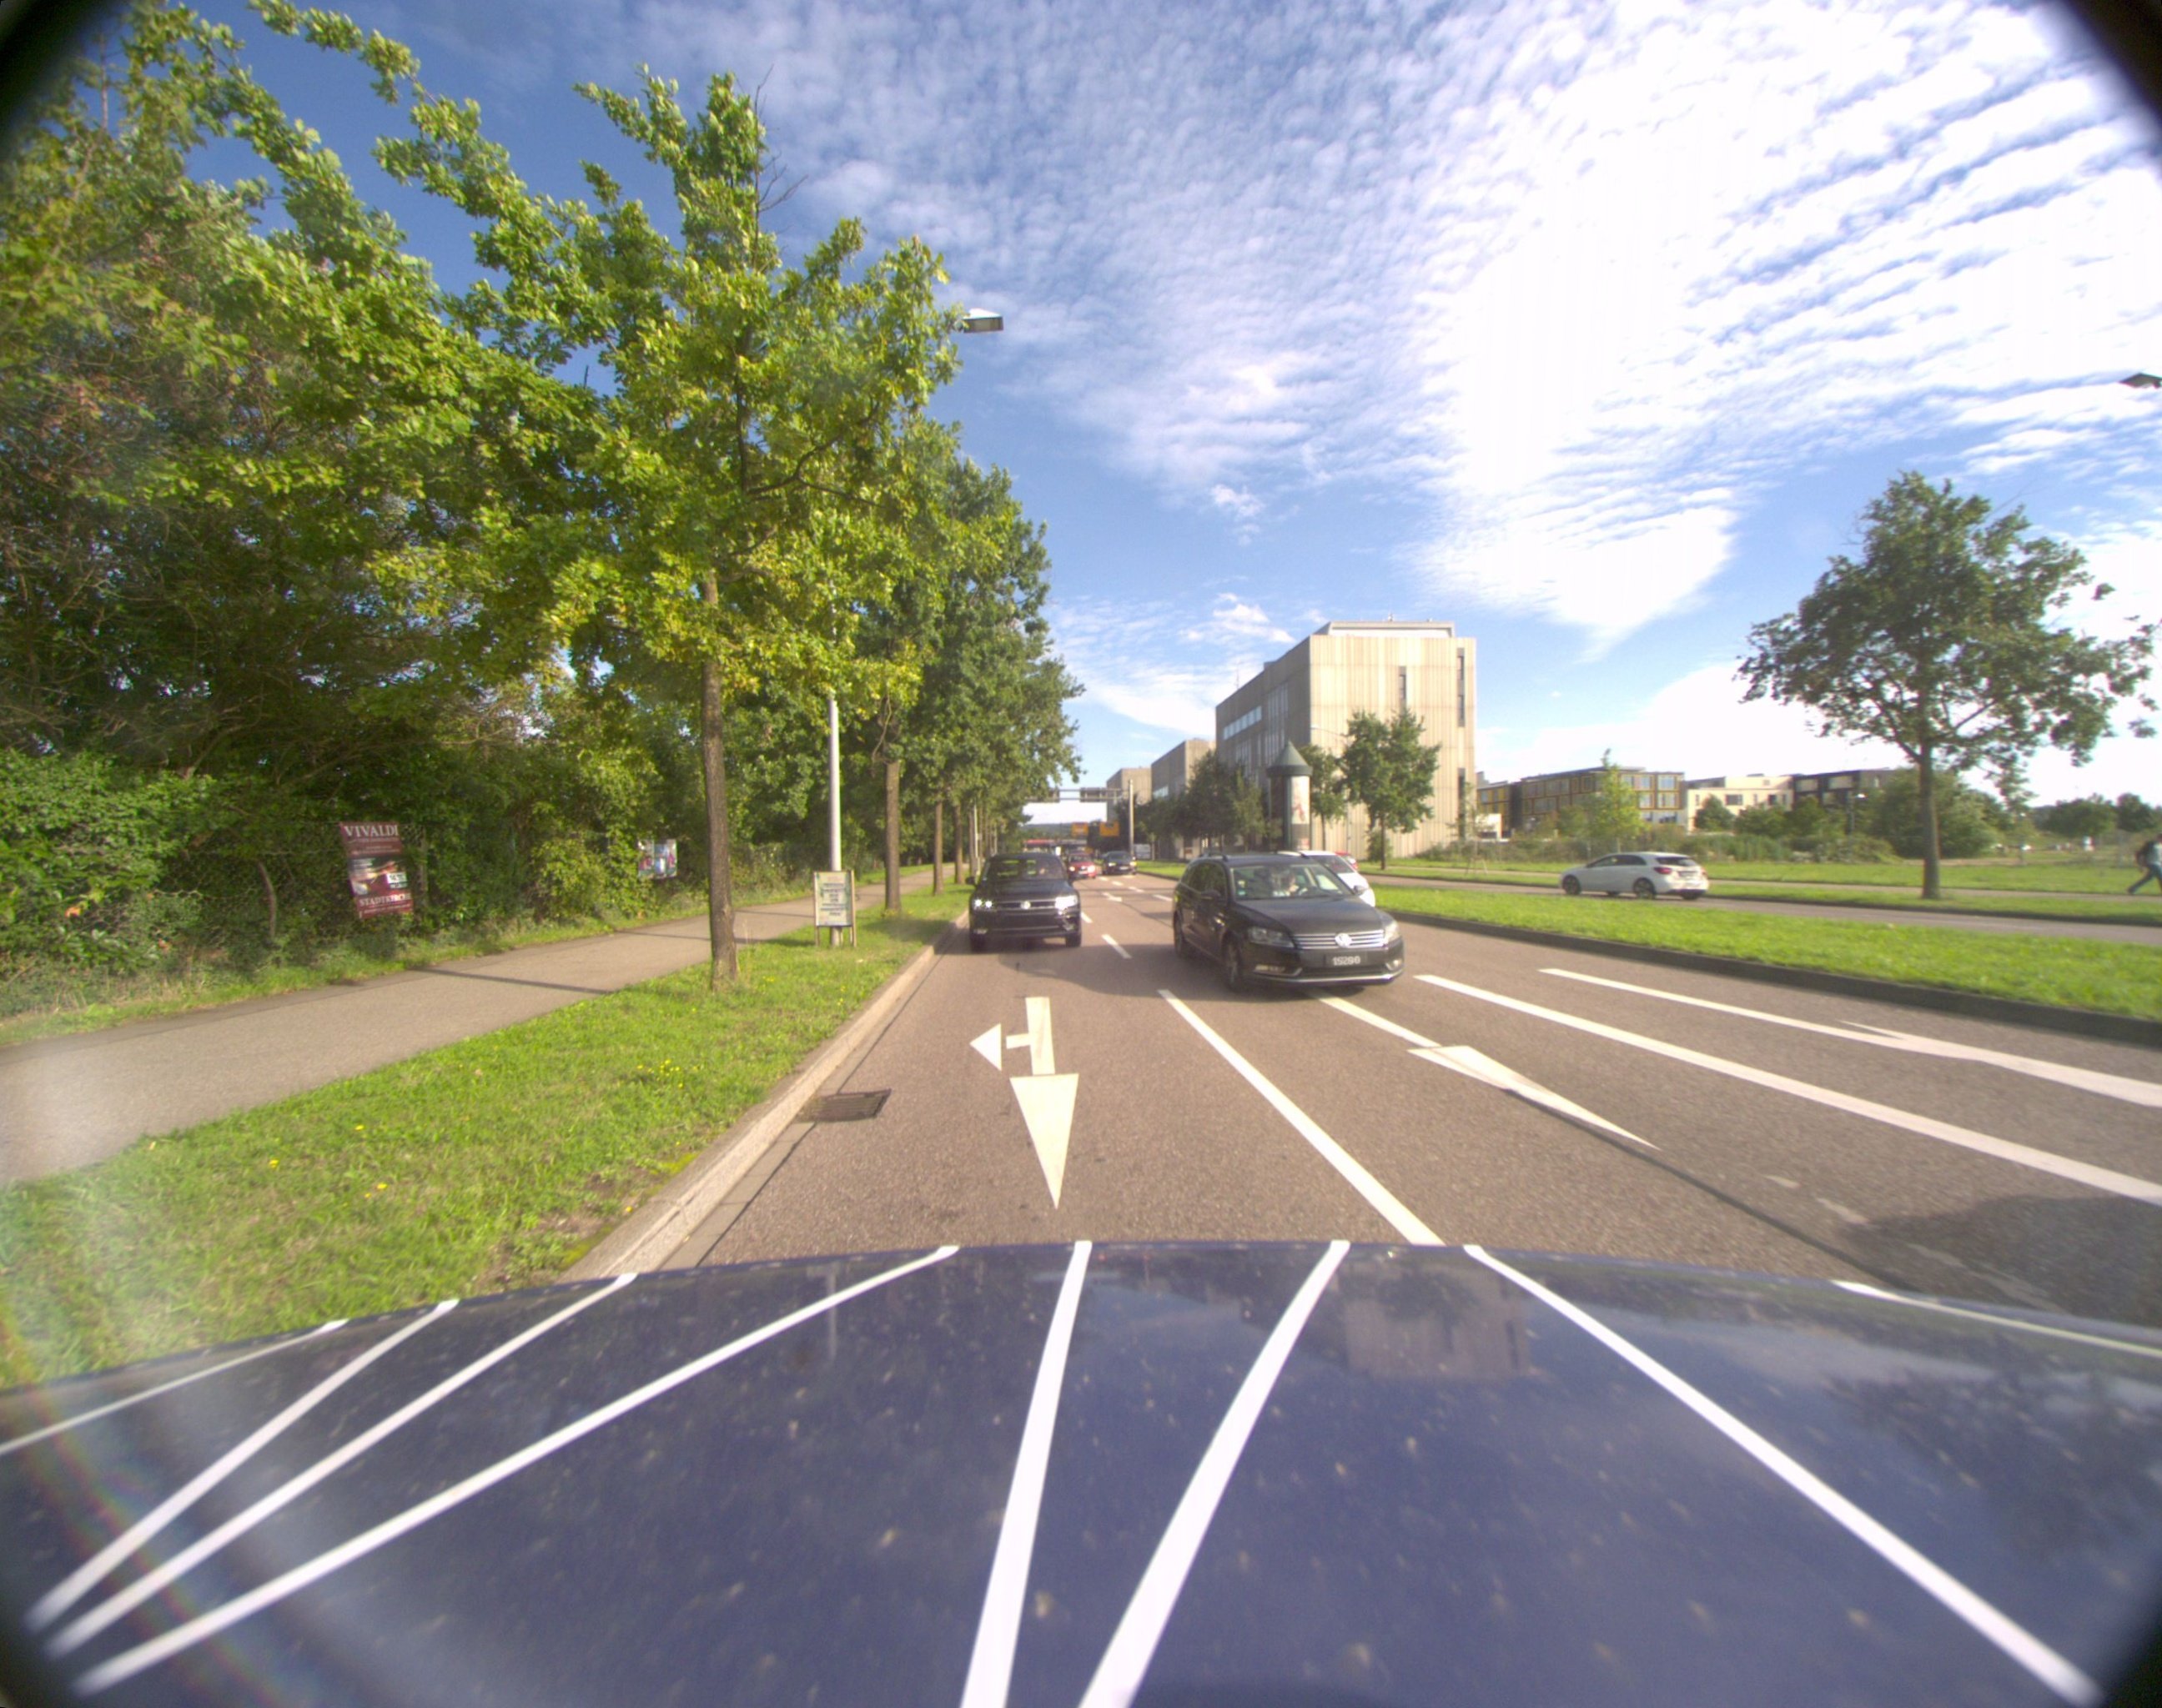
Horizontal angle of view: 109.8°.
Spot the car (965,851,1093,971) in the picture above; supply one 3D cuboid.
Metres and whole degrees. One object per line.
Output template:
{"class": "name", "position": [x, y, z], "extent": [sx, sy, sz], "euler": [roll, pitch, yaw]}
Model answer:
{"class": "car", "position": [-1.001, 0.863, 14.173], "extent": [1.872, 1.685, 5.012], "euler": [-3, 1, -5]}

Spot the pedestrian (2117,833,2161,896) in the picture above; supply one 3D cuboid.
{"class": "pedestrian", "position": [27.903, 0.271, 19.896], "extent": [0.628, 1.620, 0.657], "euler": [-2, 1, -2]}

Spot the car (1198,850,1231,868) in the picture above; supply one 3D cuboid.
{"class": "car", "position": [11.621, 0.406, 66.307], "extent": [1.856, 1.425, 4.066], "euler": [-1, 0, -5]}

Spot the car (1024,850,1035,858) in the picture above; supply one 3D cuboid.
{"class": "car", "position": [-8.461, -0.036, 125.219], "extent": [1.737, 1.381, 3.998], "euler": [-1, 0, -5]}

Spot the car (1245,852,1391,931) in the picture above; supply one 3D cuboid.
{"class": "car", "position": [4.973, 0.713, 16.472], "extent": [1.766, 1.456, 3.658], "euler": [-2, 1, -5]}

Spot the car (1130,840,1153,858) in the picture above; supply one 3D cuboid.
{"class": "car", "position": [7.837, -0.663, 98.818], "extent": [2.033, 2.241, 5.538], "euler": [1, 0, -5]}

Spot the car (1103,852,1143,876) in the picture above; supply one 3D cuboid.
{"class": "car", "position": [2.602, 0.590, 47.877], "extent": [1.824, 1.412, 4.444], "euler": [-2, 1, -5]}

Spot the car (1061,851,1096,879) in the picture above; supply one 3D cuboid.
{"class": "car", "position": [-0.195, 0.627, 44.323], "extent": [1.694, 1.466, 4.224], "euler": [-2, 1, -5]}

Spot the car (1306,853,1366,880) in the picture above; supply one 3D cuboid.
{"class": "car", "position": [14.233, 0.644, 42.655], "extent": [1.686, 1.425, 3.587], "euler": [-1, 0, -10]}

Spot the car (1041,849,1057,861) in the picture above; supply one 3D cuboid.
{"class": "car", "position": [-4.635, 0.102, 108.356], "extent": [2.000, 1.652, 4.800], "euler": [-1, 0, -6]}

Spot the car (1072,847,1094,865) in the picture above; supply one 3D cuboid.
{"class": "car", "position": [0.146, 0.200, 74.665], "extent": [1.694, 1.467, 4.223], "euler": [-3, 3, -5]}

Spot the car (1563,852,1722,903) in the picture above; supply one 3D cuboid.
{"class": "car", "position": [17.352, 0.675, 23.754], "extent": [1.685, 1.425, 3.991], "euler": [-1, 0, -8]}

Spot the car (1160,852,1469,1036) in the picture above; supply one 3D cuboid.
{"class": "car", "position": [2.423, 0.819, 9.410], "extent": [1.999, 1.557, 4.842], "euler": [-3, 1, -4]}
